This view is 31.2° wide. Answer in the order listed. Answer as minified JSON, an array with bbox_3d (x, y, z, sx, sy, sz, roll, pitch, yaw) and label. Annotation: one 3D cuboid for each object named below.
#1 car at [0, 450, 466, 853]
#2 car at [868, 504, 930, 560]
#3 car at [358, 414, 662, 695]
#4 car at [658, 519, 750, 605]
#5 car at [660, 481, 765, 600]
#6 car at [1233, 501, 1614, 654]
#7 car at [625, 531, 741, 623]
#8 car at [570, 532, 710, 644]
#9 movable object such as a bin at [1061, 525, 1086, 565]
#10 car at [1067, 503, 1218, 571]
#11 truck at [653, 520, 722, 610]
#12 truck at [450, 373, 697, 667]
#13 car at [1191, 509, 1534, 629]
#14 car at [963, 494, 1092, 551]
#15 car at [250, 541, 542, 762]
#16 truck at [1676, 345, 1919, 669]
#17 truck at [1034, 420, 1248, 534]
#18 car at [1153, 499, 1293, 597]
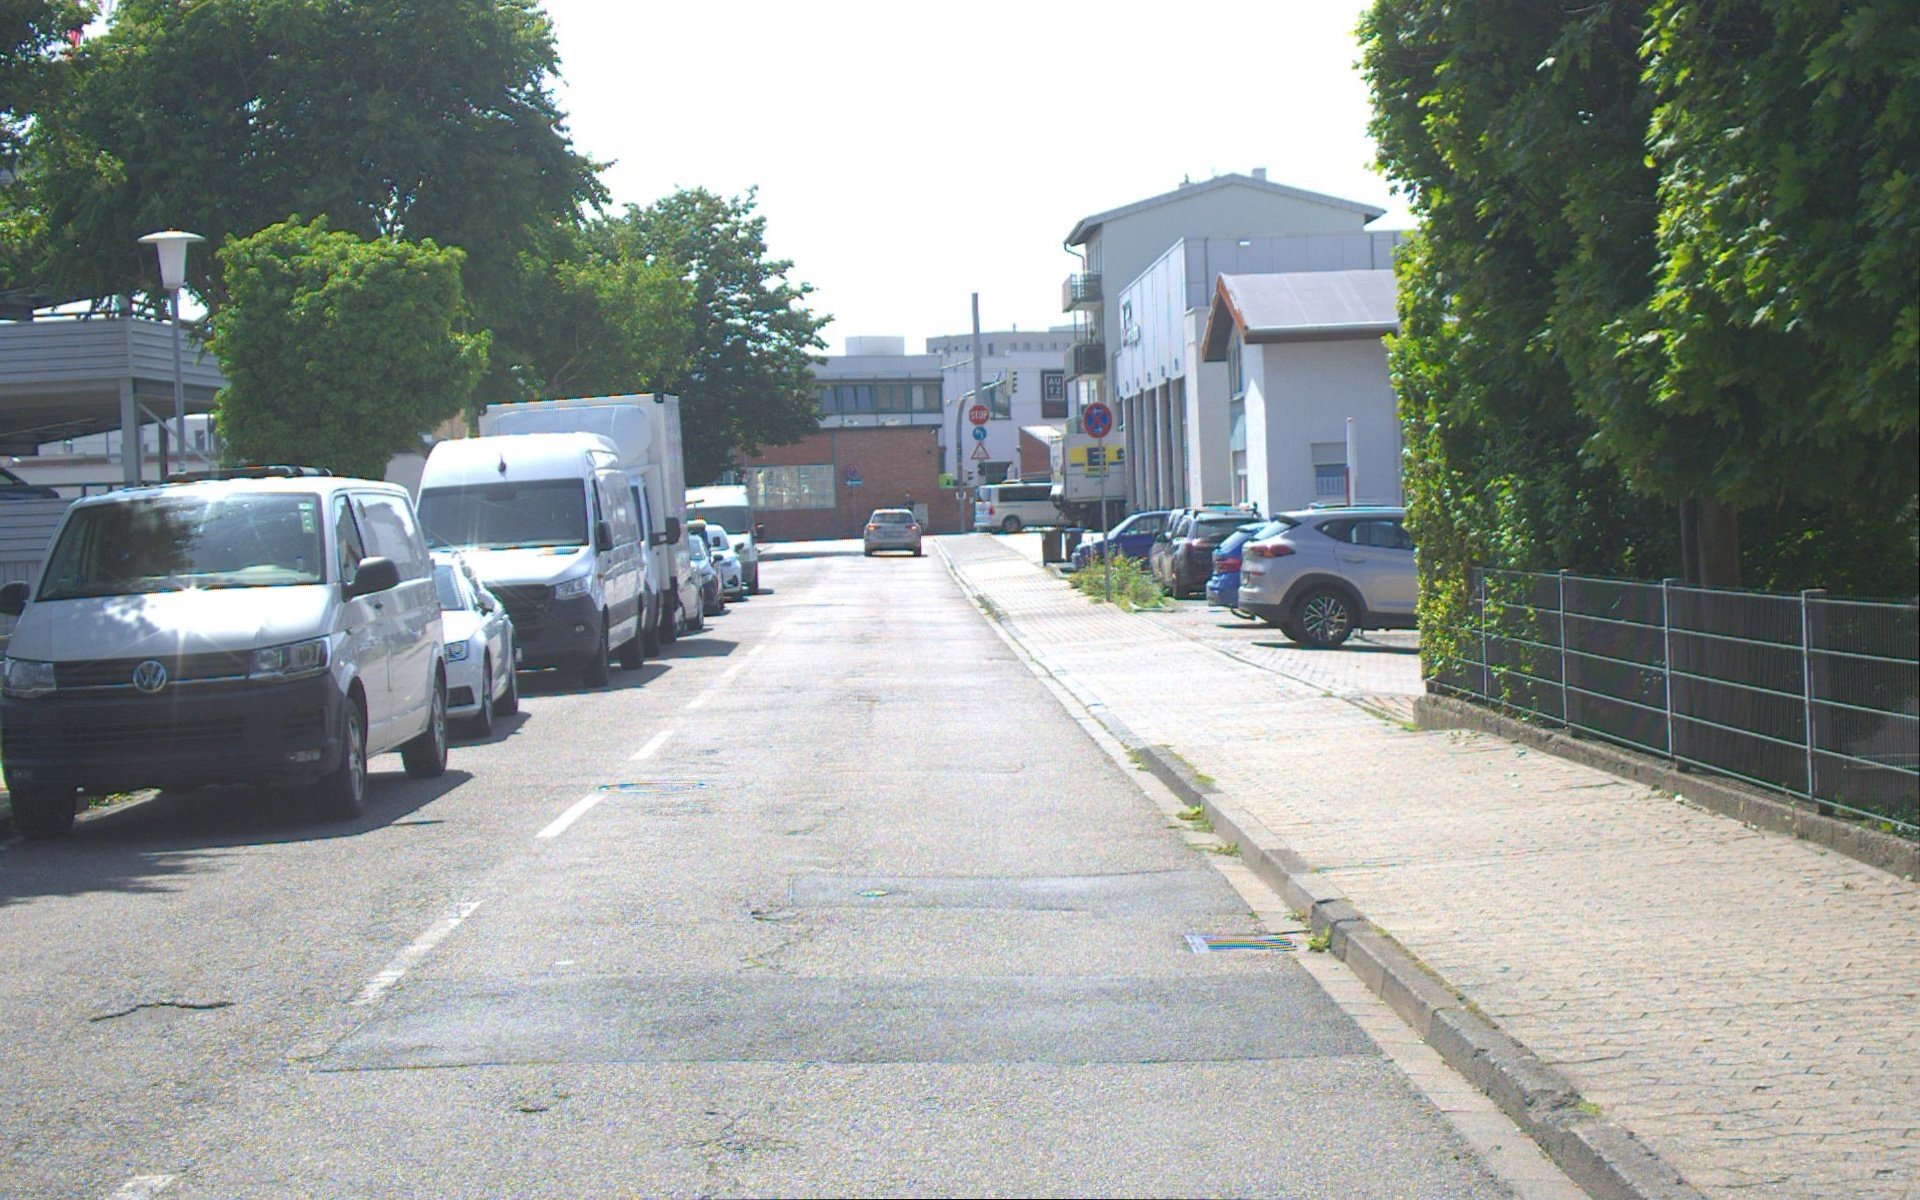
[{"bbox_3d":[-4.333,0.237,20.581,1.971,2.007,5.056,-4,1,-1],"label":"car"},{"bbox_3d":[-1.953,-2.152,109.370,1.890,1.679,3.958,1,1,-1],"label":"car"},{"bbox_3d":[-4.632,-0.486,36.584,2.168,2.587,6.920,-3,1,0],"label":"car"},{"bbox_3d":[-5.259,-0.801,70.308,1.704,1.618,3.974,-3,1,-6],"label":"car"},{"bbox_3d":[-5.392,-1.339,75.473,2.005,2.358,5.230,-5,2,-3],"label":"car"},{"bbox_3d":[5.432,-0.276,40.644,4.200,1.676,1.767,1,1,-1],"label":"car"},{"bbox_3d":[-4.873,-0.443,60.924,1.704,1.458,4.114,-3,1,-1],"label":"car"},{"bbox_3d":[-4.758,-0.212,51.610,1.741,1.516,4.310,-2,2,-1],"label":"car"},{"bbox_3d":[2.815,-1.364,85.307,0.514,0.943,0.487,-2,2,11],"label":"movable object such as a bin"},{"bbox_3d":[4.078,-1.420,77.304,3.253,1.394,1.673,-2,2,0],"label":"car"},{"bbox_3d":[-5.272,-0.692,66.699,1.138,1.616,3.142,-4,2,-3],"label":"truck"},{"bbox_3d":[-4.833,-0.994,44.123,2.685,3.354,7.131,-3,1,-4],"label":"truck"},{"bbox_3d":[5.423,-0.439,46.699,4.352,1.436,1.892,-2,1,-1],"label":"car"},{"bbox_3d":[2.682,-3.065,136.707,4.653,1.951,1.917,-4,0,-19],"label":"car"},{"bbox_3d":[-4.462,0.356,27.781,1.714,1.538,4.401,-4,1,-2],"label":"car"},{"bbox_3d":[11.977,-0.955,37.977,7.518,3.411,2.527,1,1,0],"label":"truck"},{"bbox_3d":[6.730,-4.604,128.477,7.357,3.632,2.768,-5,2,-6],"label":"truck"},{"bbox_3d":[4.528,-0.936,59.873,1.858,1.562,4.952,-2,2,-2],"label":"car"}]
